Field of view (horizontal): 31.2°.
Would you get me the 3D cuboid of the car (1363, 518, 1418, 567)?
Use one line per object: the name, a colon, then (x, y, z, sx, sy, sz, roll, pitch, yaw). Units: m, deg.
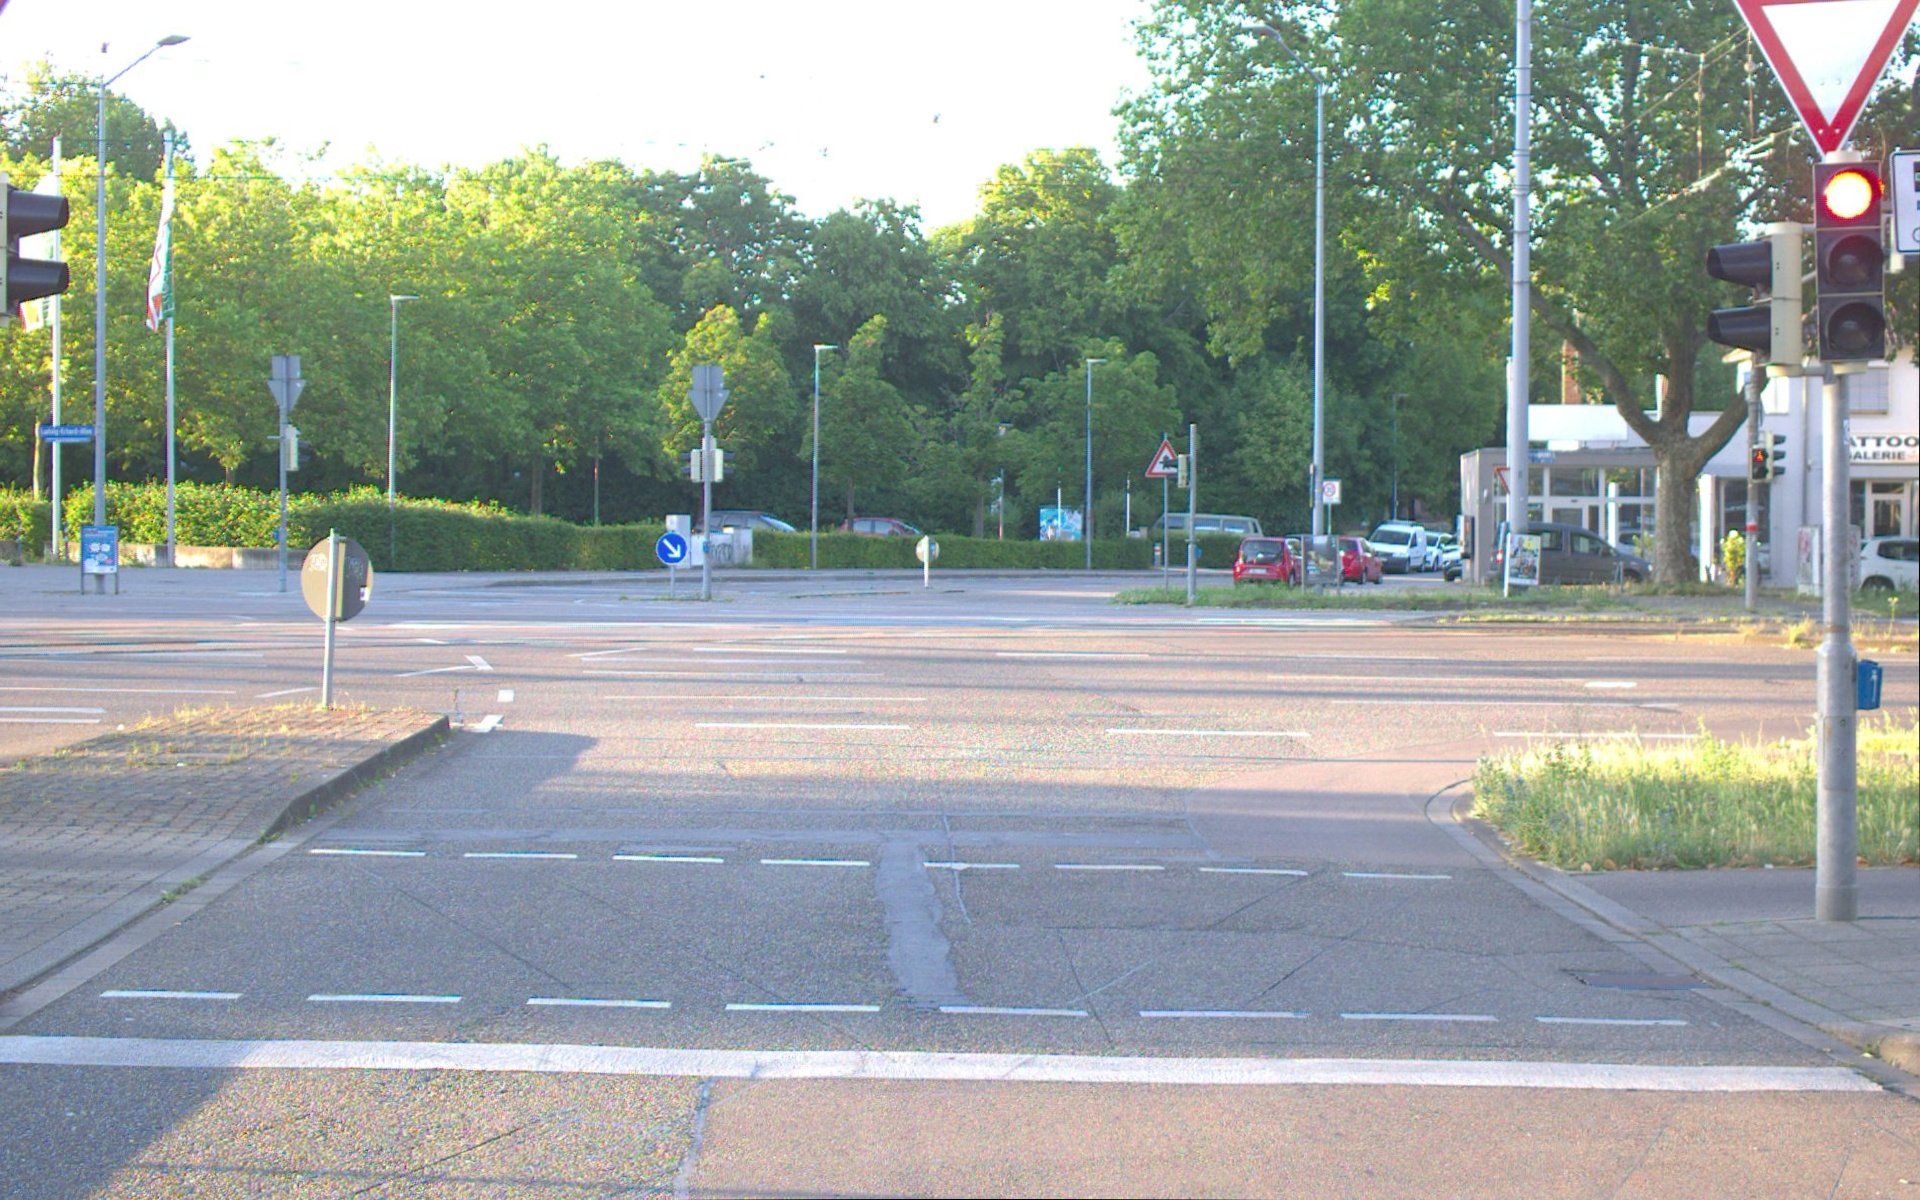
car: (16.430, -2.186, 131.188, 1.864, 1.788, 3.998, 1, 0, 10)

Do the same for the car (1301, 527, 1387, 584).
car: (11.558, -1.334, 103.372, 1.995, 1.656, 3.997, 1, 0, 15)

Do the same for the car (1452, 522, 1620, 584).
car: (14.914, -1.214, 89.166, 4.220, 1.547, 1.999, 1, 0, 7)

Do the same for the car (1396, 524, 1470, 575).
car: (15.924, -1.673, 115.596, 1.995, 1.656, 3.997, 1, 0, 15)

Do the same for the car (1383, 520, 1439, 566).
car: (17.885, -2.249, 136.082, 1.864, 1.788, 3.998, 1, 0, 12)

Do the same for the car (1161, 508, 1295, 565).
car: (9.785, -2.314, 125.873, 4.774, 1.999, 2.000, 0, 0, 2)

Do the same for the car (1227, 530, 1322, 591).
car: (8.778, -1.095, 95.685, 1.995, 1.656, 3.997, 1, 0, 15)

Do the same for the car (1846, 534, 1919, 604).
car: (20.588, -0.640, 72.077, 3.741, 1.435, 1.663, 1, 0, 9)
